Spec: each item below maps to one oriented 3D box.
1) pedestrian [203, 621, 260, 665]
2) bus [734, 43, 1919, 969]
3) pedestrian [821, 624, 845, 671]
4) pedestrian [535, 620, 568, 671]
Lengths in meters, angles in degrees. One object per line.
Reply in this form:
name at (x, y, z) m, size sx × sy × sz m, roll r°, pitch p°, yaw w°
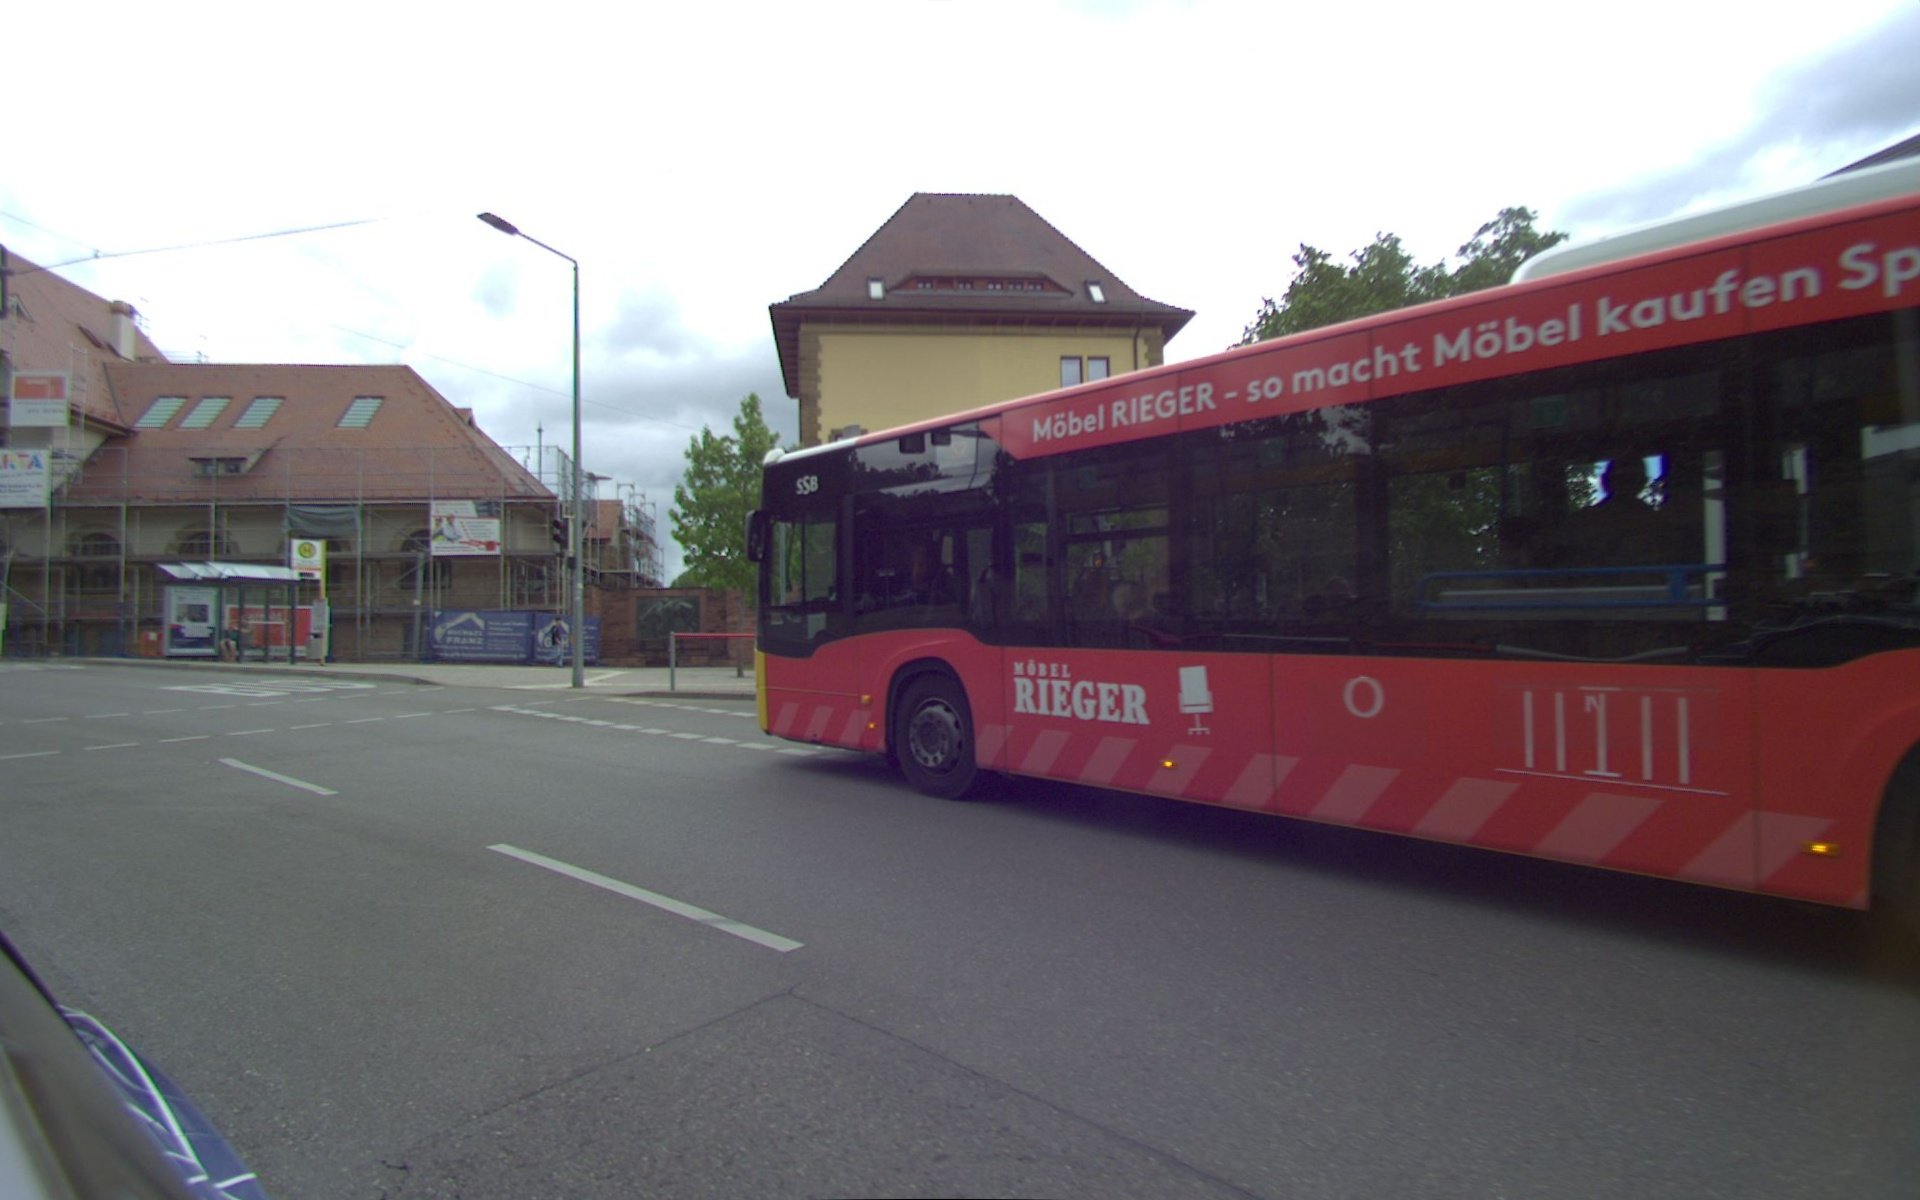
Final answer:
pedestrian at (-20.839, 1.249, 28.971) m, size 0.899 × 1.201 × 0.928 m, roll 0°, pitch -5°, yaw 23°
bus at (2.163, -0.275, 6.684) m, size 2.625 × 3.145 × 10.032 m, roll 0°, pitch -1°, yaw -41°
pedestrian at (-4.328, 1.610, 34.478) m, size 0.646 × 1.589 × 0.538 m, roll 0°, pitch -2°, yaw 9°
pedestrian at (-14.304, 1.584, 35.458) m, size 0.787 × 1.733 × 0.926 m, roll 1°, pitch -2°, yaw -3°
